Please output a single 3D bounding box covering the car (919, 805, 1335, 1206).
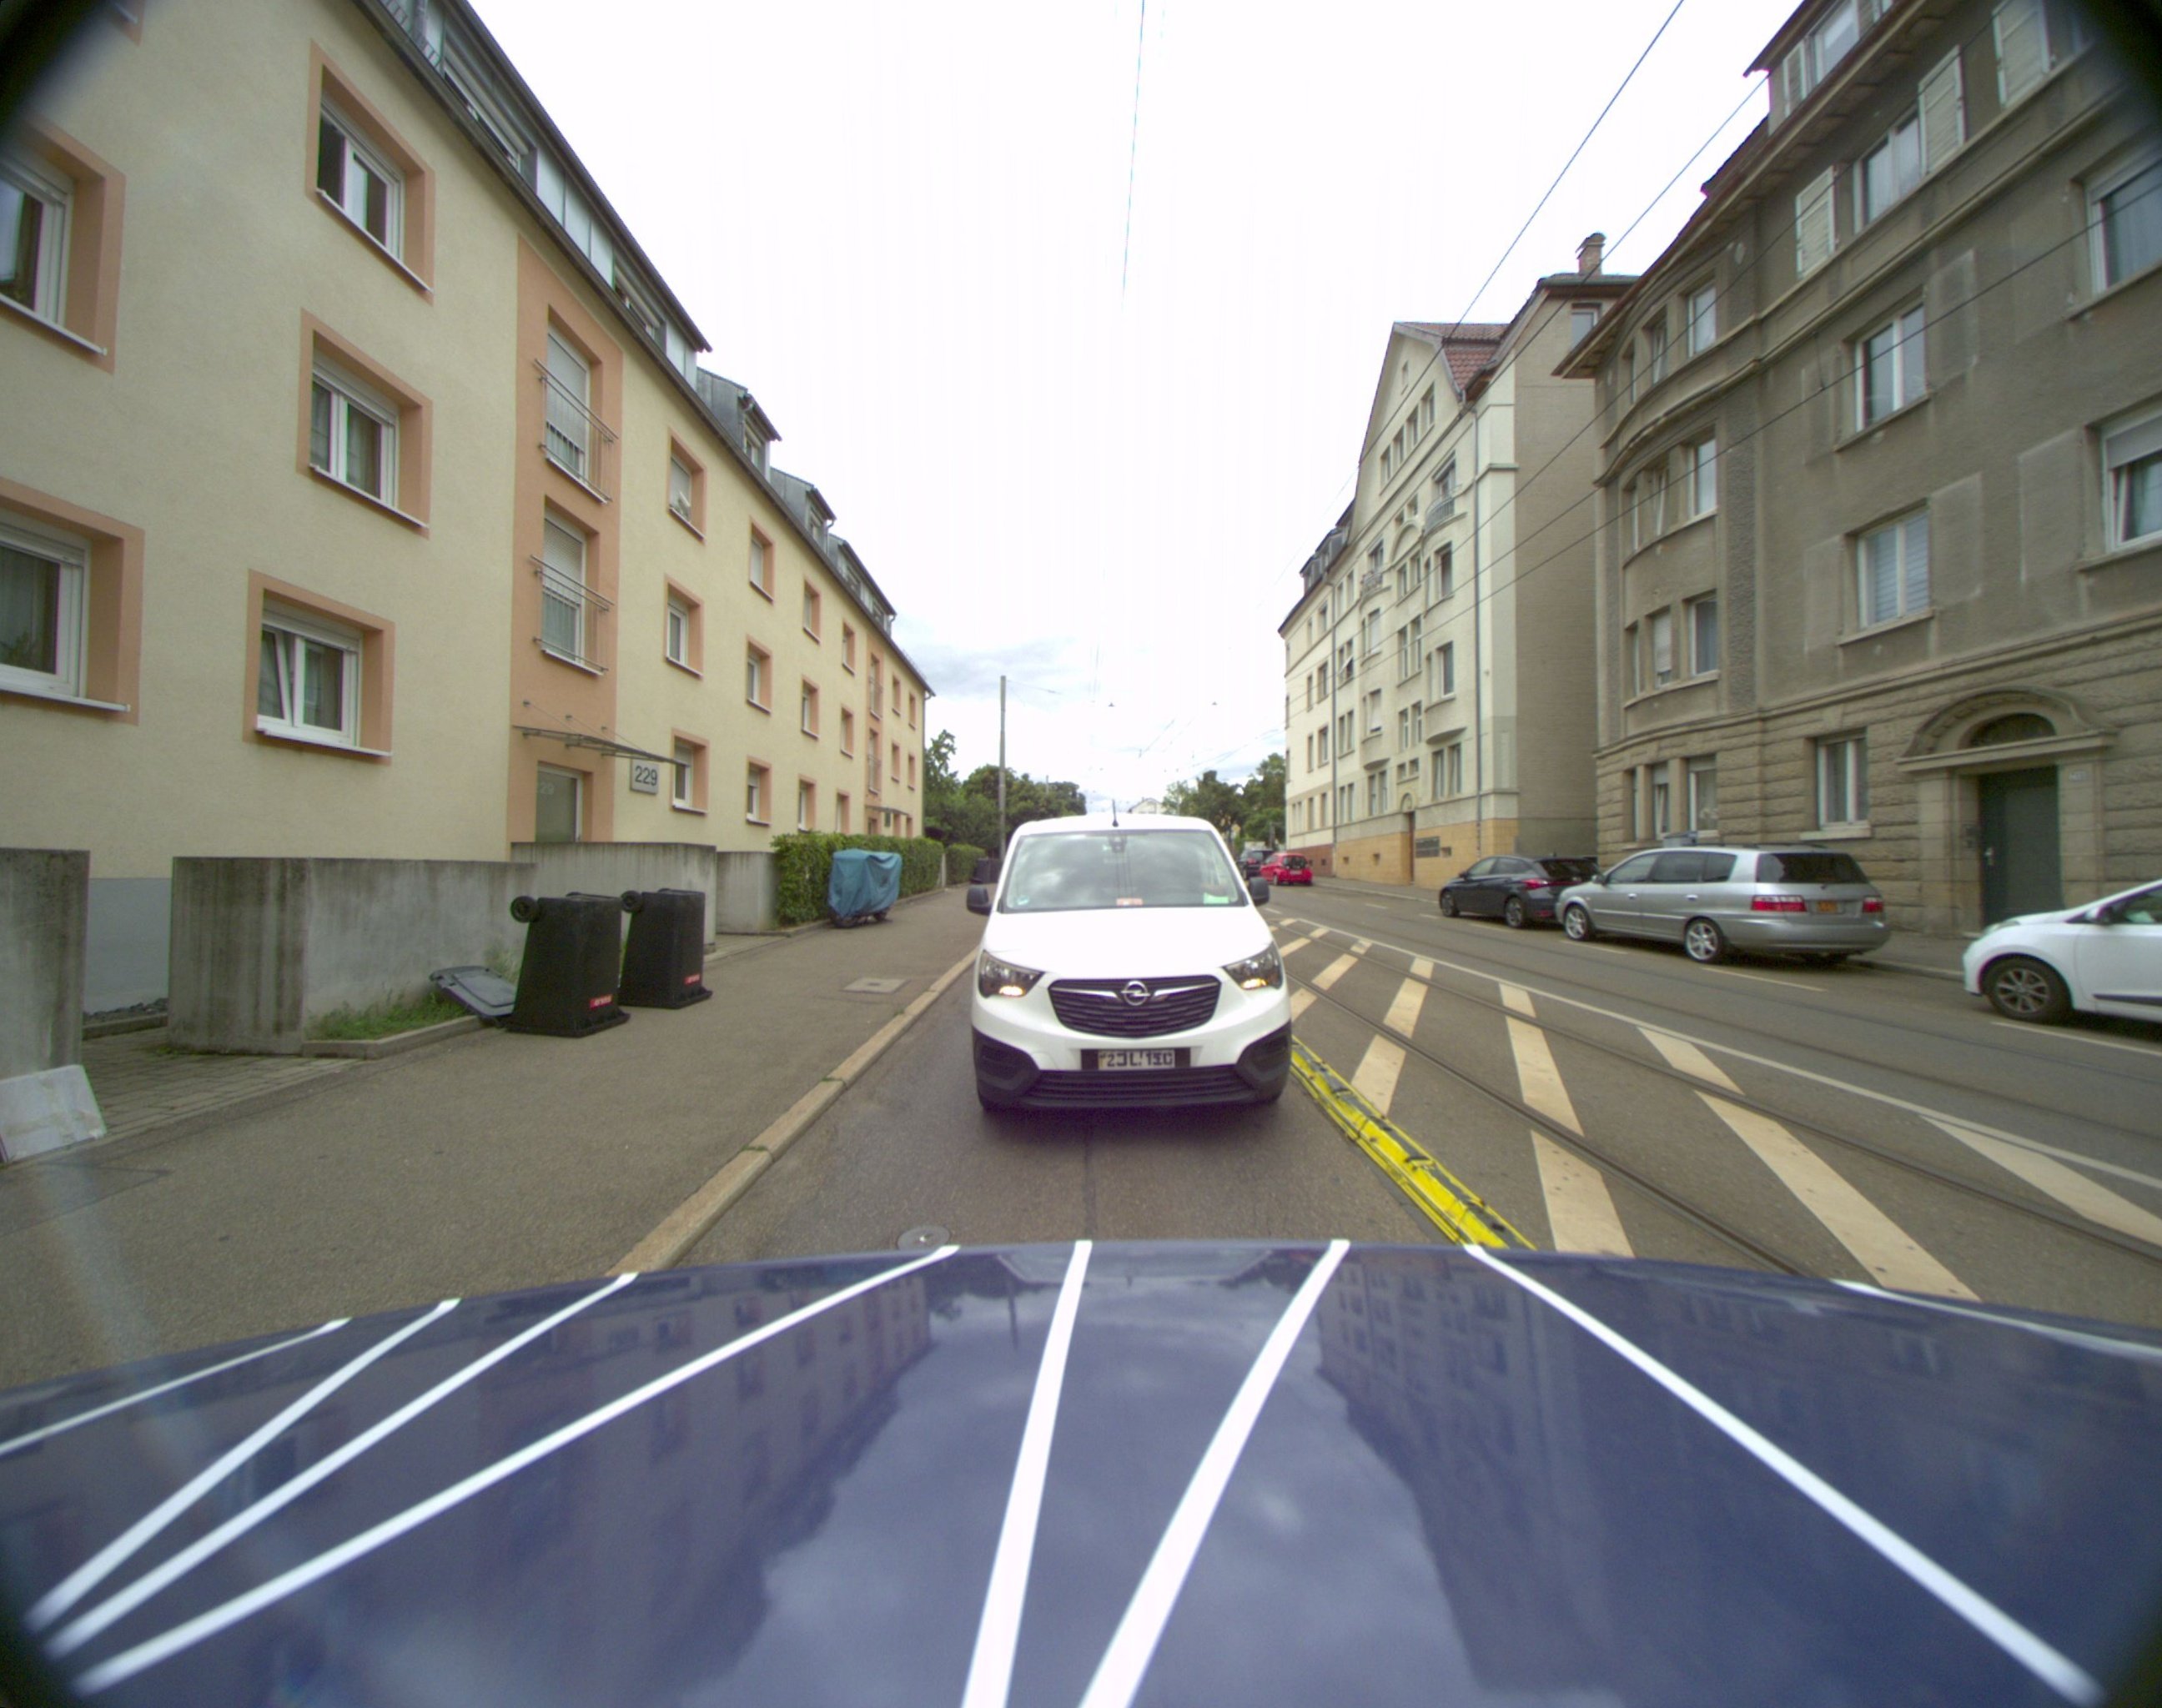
[{"bbox_3d":[0.251,0.680,5.871,1.888,1.828,4.676,-1,1,1],"label":"car"}]

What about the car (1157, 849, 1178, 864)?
[{"bbox_3d":[9.470,0.261,83.233,1.743,1.517,3.951,1,1,0],"label":"car"}]

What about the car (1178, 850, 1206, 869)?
[{"bbox_3d":[9.531,0.481,65.554,1.743,1.517,3.951,1,1,0],"label":"car"}]

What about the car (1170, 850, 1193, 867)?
[{"bbox_3d":[9.502,0.411,72.049,1.743,1.517,3.951,2,1,1],"label":"car"}]

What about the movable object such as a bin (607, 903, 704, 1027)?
[{"bbox_3d":[-3.720,0.959,6.678,0.565,1.003,0.498,3,0,-8],"label":"movable object such as a bin"}]

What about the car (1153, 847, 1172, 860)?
[{"bbox_3d":[9.513,-0.071,89.312,1.743,1.517,3.951,1,1,0],"label":"car"}]

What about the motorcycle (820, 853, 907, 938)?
[{"bbox_3d":[-3.895,0.699,13.802,0.731,1.382,1.937,4,1,7],"label":"motorcycle"}]

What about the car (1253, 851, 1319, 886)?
[{"bbox_3d":[9.394,0.638,35.084,1.743,1.450,3.950,1,1,-3],"label":"car"}]

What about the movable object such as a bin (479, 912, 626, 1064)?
[{"bbox_3d":[-3.930,0.972,5.694,0.637,1.003,0.602,3,0,1],"label":"movable object such as a bin"}]

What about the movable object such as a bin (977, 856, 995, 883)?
[{"bbox_3d":[-3.861,0.631,30.915,0.669,1.053,0.539,-1,0,1],"label":"movable object such as a bin"}]

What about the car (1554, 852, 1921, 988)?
[{"bbox_3d":[9.048,0.774,11.054,1.743,1.558,4.142,-1,1,0],"label":"car"}]

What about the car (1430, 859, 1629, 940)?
[{"bbox_3d":[9.083,0.840,15.844,1.743,1.373,4.044,0,1,0],"label":"car"}]

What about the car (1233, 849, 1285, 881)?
[{"bbox_3d":[9.276,0.556,39.852,1.743,1.517,3.951,1,1,0],"label":"car"}]

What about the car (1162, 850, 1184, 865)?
[{"bbox_3d":[9.466,0.341,78.284,1.743,1.517,3.951,1,1,0],"label":"car"}]

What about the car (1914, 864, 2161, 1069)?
[{"bbox_3d":[9.044,0.876,5.548,1.743,1.502,3.800,0,1,1],"label":"car"}]
